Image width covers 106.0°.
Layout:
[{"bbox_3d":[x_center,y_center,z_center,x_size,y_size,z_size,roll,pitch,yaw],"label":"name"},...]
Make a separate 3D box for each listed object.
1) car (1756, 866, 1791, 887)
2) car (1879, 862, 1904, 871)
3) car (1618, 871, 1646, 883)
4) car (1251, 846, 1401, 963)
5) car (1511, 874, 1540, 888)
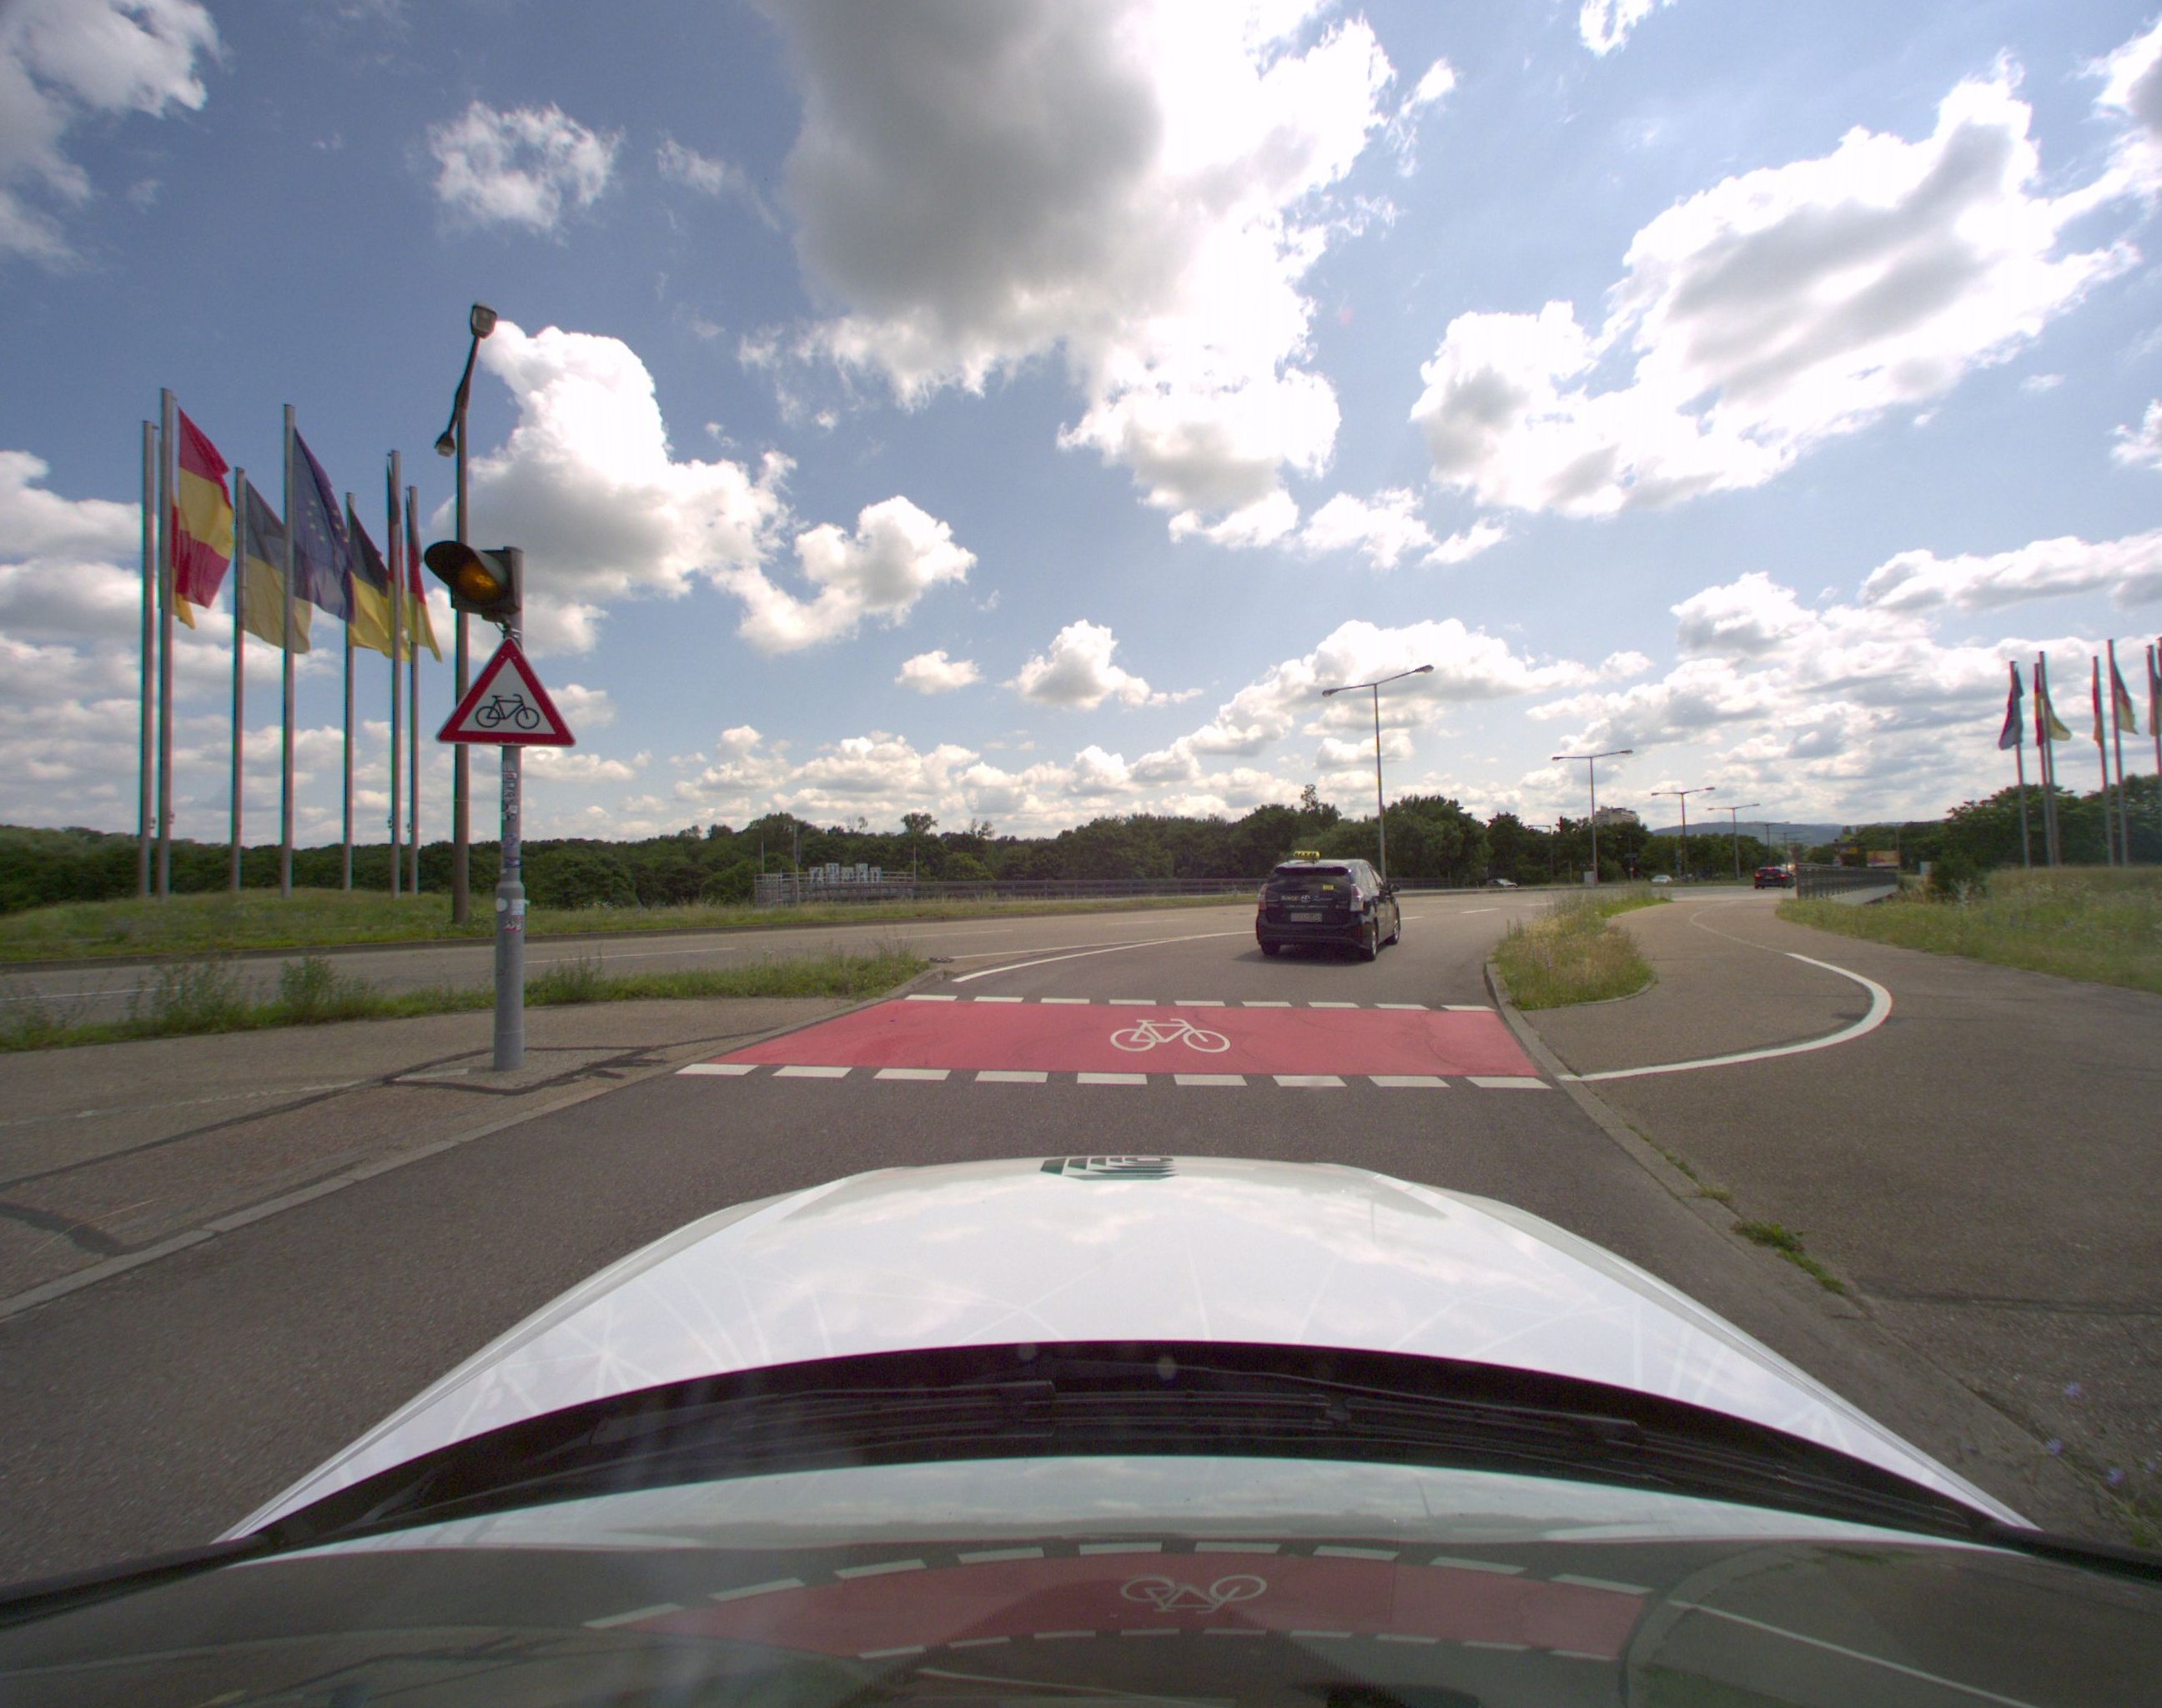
[{"bbox_3d":[55.984,1.789,65.795,1.975,1.662,4.024,-1,-1,43],"label":"car"},{"bbox_3d":[153.190,2.415,153.927,1.975,1.662,4.023,-1,-1,24],"label":"car"},{"bbox_3d":[67.981,2.831,100.439,4.574,1.413,1.648,0,-4,-42],"label":"car"},{"bbox_3d":[4.306,0.740,13.881,1.763,1.684,4.024,-1,-1,27],"label":"car"},{"bbox_3d":[56.608,3.398,103.655,2.069,1.626,4.576,-1,-1,45],"label":"car"}]
